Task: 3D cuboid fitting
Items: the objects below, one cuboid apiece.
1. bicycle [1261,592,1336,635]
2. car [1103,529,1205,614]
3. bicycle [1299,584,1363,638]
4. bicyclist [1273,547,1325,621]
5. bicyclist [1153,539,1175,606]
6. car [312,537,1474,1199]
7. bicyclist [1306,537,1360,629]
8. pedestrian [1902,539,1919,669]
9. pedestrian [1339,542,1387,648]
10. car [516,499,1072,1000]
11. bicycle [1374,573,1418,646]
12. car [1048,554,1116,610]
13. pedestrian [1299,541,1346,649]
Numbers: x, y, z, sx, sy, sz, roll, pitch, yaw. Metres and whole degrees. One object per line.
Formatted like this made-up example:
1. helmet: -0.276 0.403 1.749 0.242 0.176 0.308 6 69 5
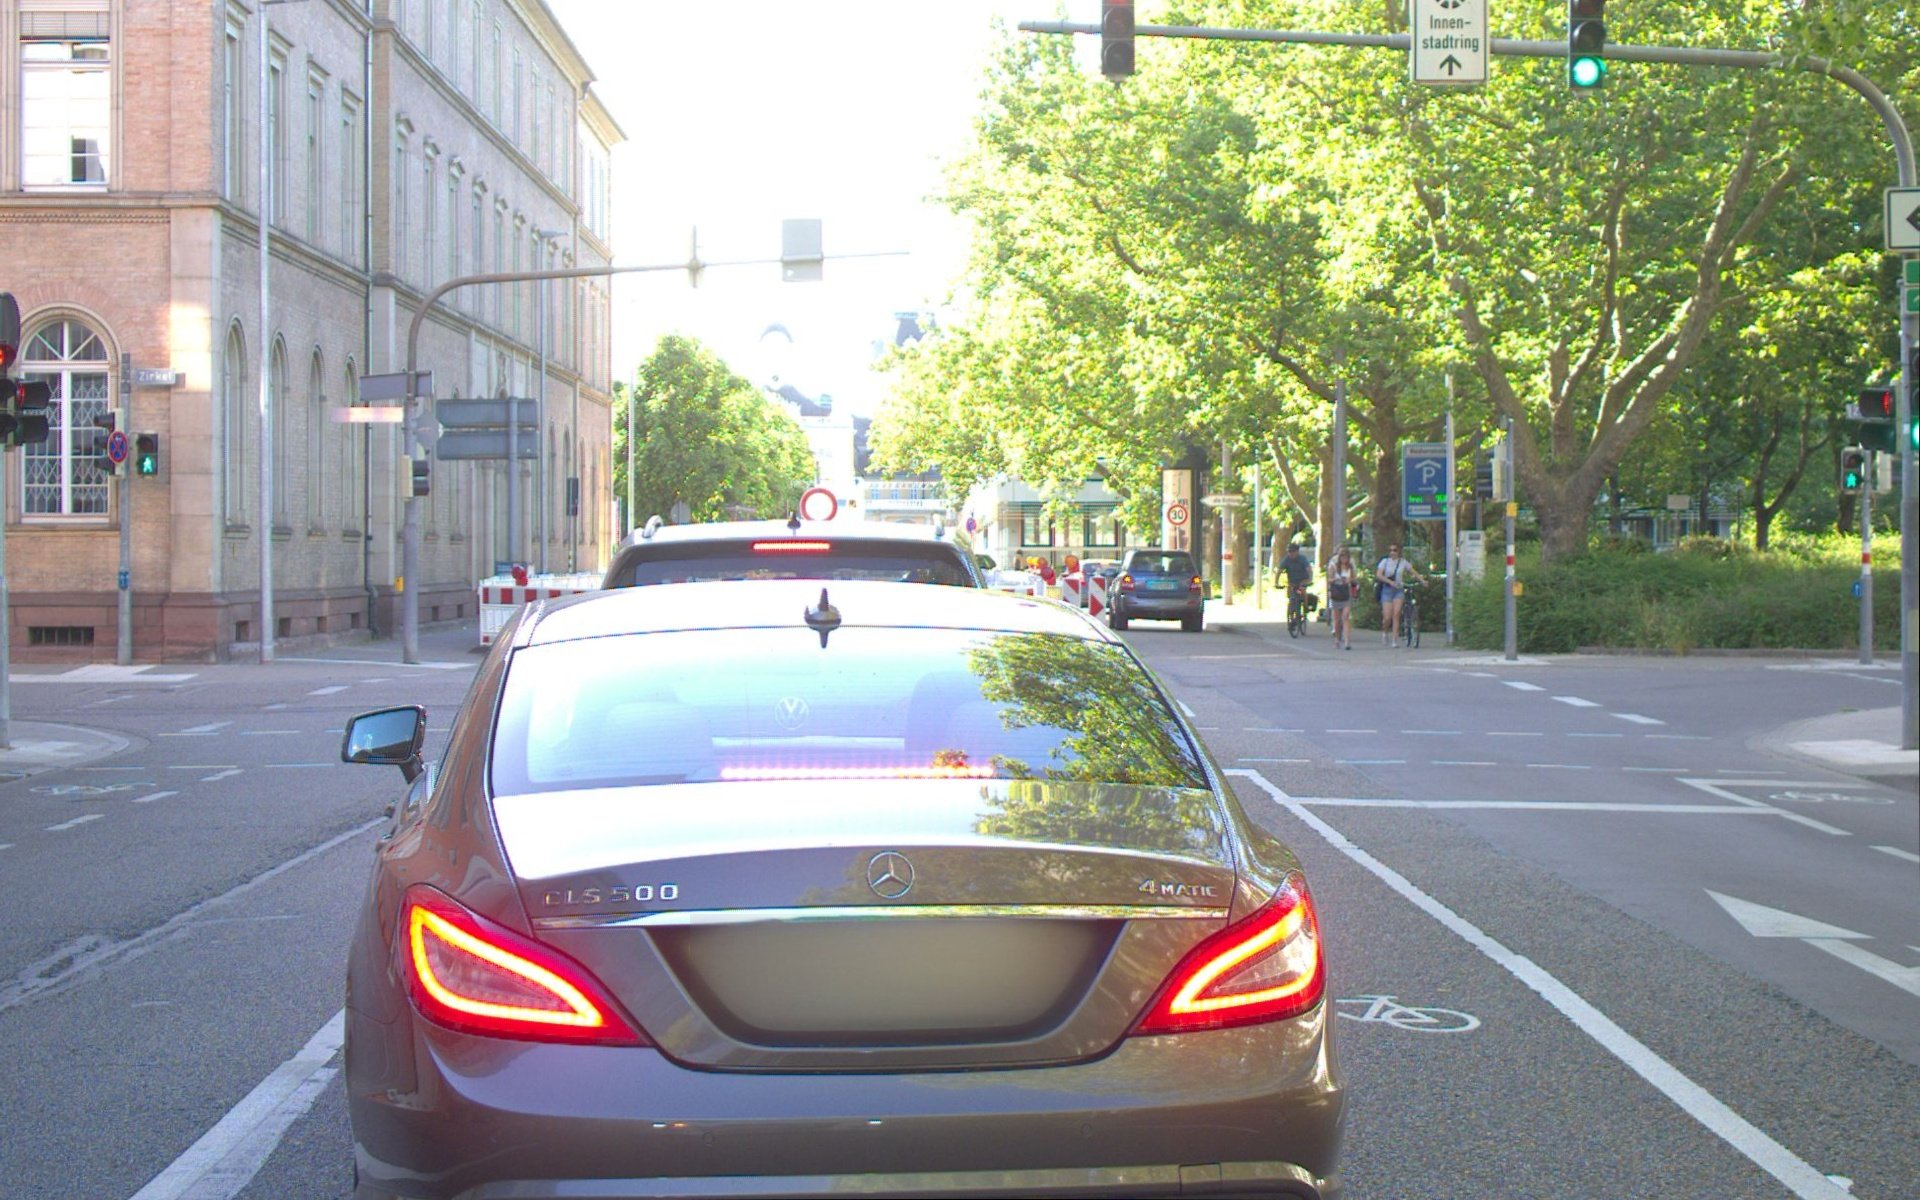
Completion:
1. bicycle: 6.394 0.246 64.852 0.724 0.788 1.925 1 1 28
2. car: 4.134 -0.631 73.804 1.861 1.758 4.482 1 1 -1
3. bicycle: 6.652 0.191 61.753 0.828 0.921 2.617 1 1 -1
4. bicyclist: 6.396 -0.302 64.833 0.734 1.393 0.697 1 0 28
5. bicyclist: 6.235 -0.833 105.129 0.594 2.032 0.566 1 0 -4
6. car: -0.363 0.628 7.482 1.861 1.514 4.001 0 1 -8
7. bicyclist: 6.677 -0.308 61.622 0.825 1.612 0.957 1 0 -1
8. pedestrian: 11.725 0.049 40.928 0.635 1.540 0.910 1 0 -9
9. pedestrian: 6.741 -0.083 57.521 0.635 1.754 0.699 1 0 -4
10. car: -0.584 0.473 13.612 1.861 1.677 4.000 1 1 -1
11. bicycle: 7.262 0.153 57.310 0.482 1.198 1.606 1 0 -1
12. car: 3.376 -0.512 95.614 1.704 1.514 4.000 1 1 -1
13. pedestrian: 6.065 -0.090 57.587 0.635 1.791 0.699 1 0 -4
